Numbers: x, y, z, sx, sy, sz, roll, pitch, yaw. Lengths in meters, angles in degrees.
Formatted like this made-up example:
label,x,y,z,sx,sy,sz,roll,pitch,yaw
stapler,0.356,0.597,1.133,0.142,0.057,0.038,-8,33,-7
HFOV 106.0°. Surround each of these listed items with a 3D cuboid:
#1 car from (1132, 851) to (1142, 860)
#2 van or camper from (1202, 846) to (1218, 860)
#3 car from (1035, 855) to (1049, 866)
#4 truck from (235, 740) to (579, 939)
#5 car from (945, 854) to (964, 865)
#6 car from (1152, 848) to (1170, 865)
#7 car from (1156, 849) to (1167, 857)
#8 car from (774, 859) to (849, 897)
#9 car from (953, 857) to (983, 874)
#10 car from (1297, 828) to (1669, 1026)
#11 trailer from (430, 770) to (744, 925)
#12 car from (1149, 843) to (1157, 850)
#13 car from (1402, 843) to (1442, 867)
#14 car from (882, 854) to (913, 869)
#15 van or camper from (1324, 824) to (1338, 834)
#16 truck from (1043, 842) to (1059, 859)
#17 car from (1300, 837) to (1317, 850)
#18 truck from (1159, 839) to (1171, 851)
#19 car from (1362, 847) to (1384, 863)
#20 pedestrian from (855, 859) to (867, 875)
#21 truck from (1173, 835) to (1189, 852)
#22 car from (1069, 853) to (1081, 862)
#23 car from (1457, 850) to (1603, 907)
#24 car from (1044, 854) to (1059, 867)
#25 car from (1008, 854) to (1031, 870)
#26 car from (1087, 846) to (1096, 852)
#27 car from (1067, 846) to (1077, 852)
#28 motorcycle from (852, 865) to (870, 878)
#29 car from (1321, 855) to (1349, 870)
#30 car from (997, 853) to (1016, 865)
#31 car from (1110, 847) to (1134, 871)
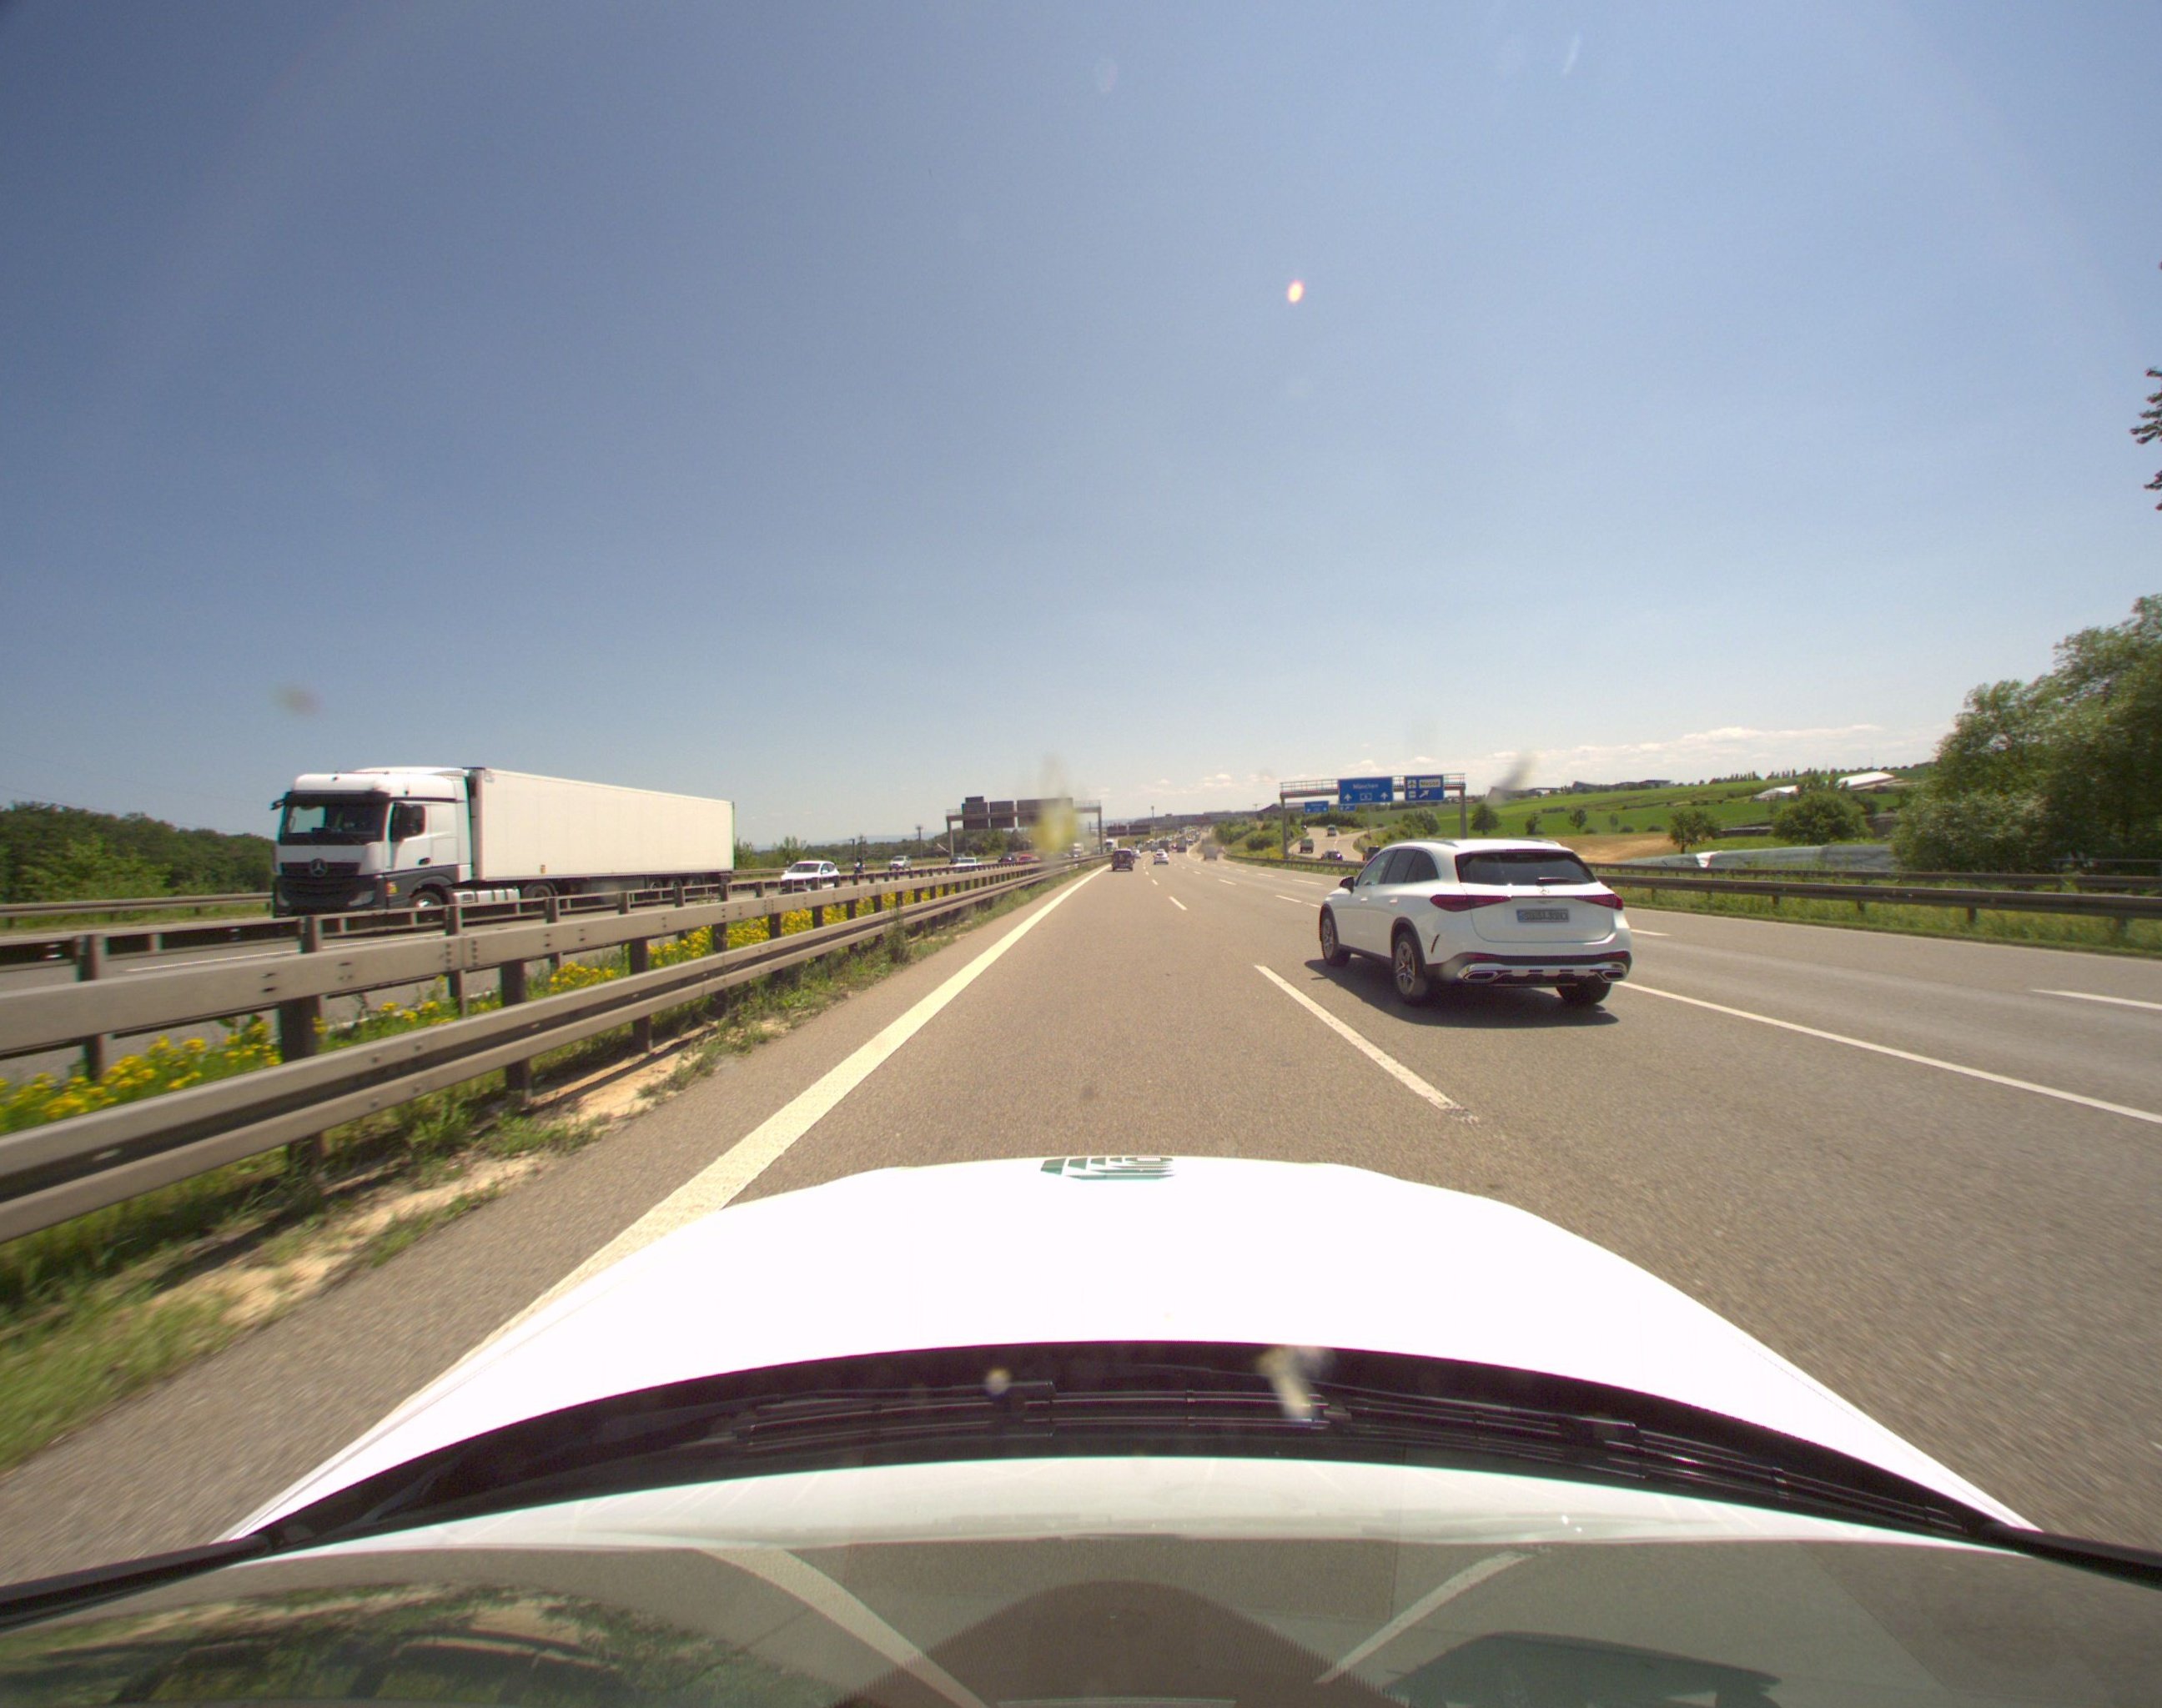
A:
label,x,y,z,sx,sy,sz,roll,pitch,yaw
car,9.816,0.229,142.257,1.568,1.552,3.971,-1,0,6
van or camper,19.051,-0.177,120.704,2.144,2.014,4.312,-1,0,7
car,-5.850,0.924,122.629,1.668,1.625,4.089,-1,0,3
truck,-16.595,-0.319,20.895,3.023,4.240,6.689,-1,0,3
car,-18.173,0.778,116.817,1.839,1.531,4.226,-1,0,3
car,9.622,0.310,98.414,1.918,1.919,4.521,-1,0,3
car,15.552,-0.254,157.126,1.971,1.473,4.009,-1,0,7
car,-11.643,1.004,35.454,1.734,1.489,4.011,-1,0,3
car,-9.653,0.966,69.907,1.650,1.403,4.763,-1,0,3
car,4.072,0.631,9.415,1.891,1.647,4.999,-1,0,1
trailer,-16.225,-0.185,28.655,3.022,4.240,12.257,-1,0,3
car,21.003,-2.210,238.315,2.175,2.002,4.008,-1,3,6
car,29.268,0.091,70.047,1.930,1.923,4.184,-1,0,4
car,-19.668,0.826,87.330,2.096,1.531,4.375,-1,0,3
van or camper,60.038,-5.992,195.939,2.515,2.014,4.469,-1,0,7
truck,-5.850,-0.717,159.824,2.366,3.277,7.667,-1,0,3
car,35.587,-1.590,127.497,1.983,2.014,4.008,-1,0,7
truck,21.816,-2.317,211.487,2.687,3.108,10.681,-1,0,8
car,35.624,0.129,99.495,1.926,1.923,4.192,-1,0,11
pedestrian,-17.889,1.049,66.130,0.648,1.316,1.036,-1,0,2
truck,27.522,-2.928,223.693,4.017,4.261,11.784,-1,2,8
car,-1.106,0.615,151.332,1.741,1.625,4.835,-1,0,3
car,12.656,0.634,23.345,1.778,1.437,4.852,-1,0,4
car,-3.957,0.856,110.273,1.668,1.614,4.366,-1,0,3
car,-6.015,0.762,80.254,1.650,1.424,4.779,-1,0,3
car,2.488,-1.168,198.663,1.781,1.464,4.866,-1,1,5
car,-2.191,-1.242,193.178,1.896,1.420,4.006,-1,1,5
motorcycle,-17.877,1.433,66.184,0.655,1.015,2.489,-1,0,3
car,27.568,0.874,88.490,1.985,1.596,4.003,-1,0,3
car,-10.230,0.647,112.047,1.839,1.655,4.914,-1,0,3
car,3.549,0.413,69.137,1.918,1.919,4.953,-1,0,4
